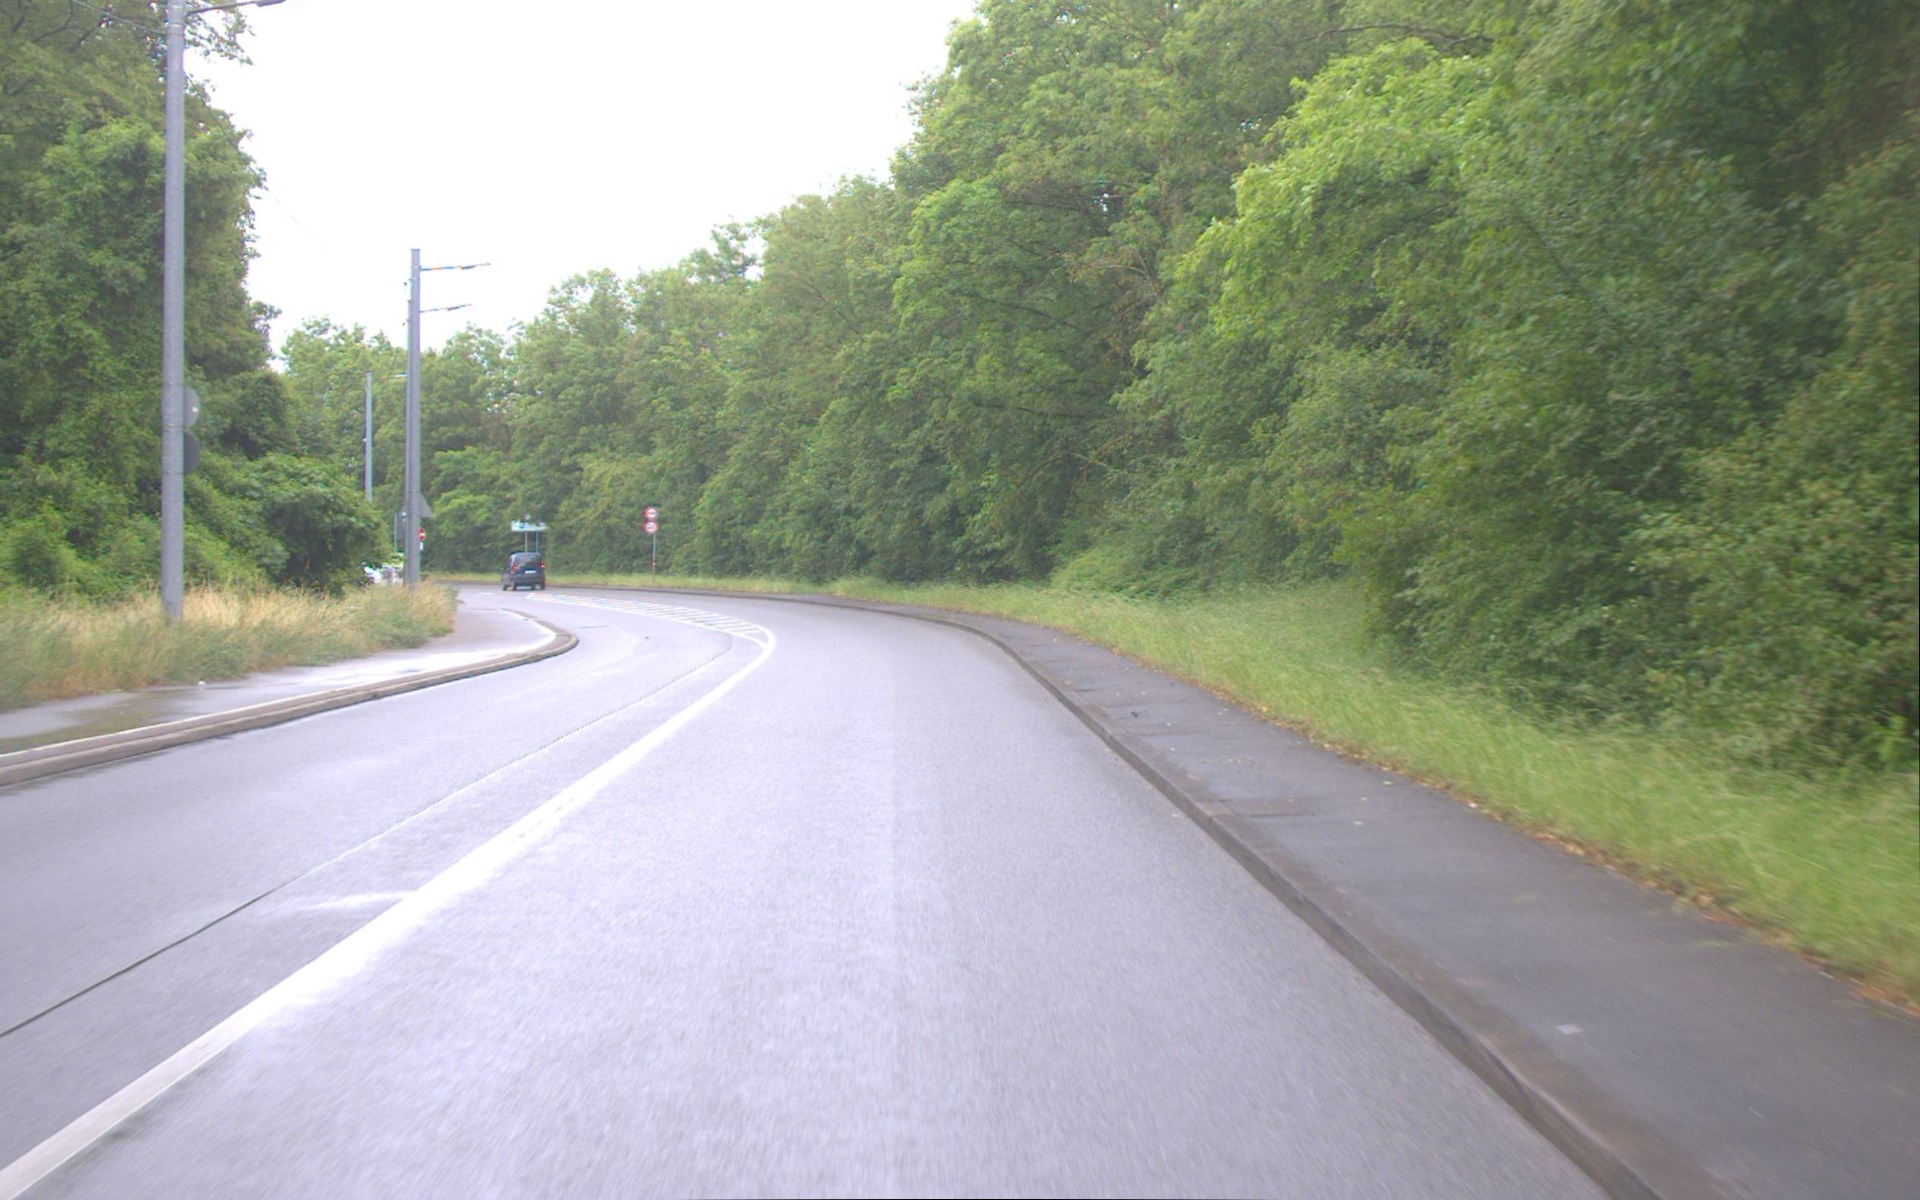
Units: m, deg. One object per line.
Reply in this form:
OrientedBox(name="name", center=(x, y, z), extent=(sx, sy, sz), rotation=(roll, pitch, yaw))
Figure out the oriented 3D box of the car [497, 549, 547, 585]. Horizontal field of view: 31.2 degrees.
OrientedBox(name="car", center=(-21.665, -1.640, 169.971), extent=(1.867, 1.590, 4.001), rotation=(4, 0, -14))
